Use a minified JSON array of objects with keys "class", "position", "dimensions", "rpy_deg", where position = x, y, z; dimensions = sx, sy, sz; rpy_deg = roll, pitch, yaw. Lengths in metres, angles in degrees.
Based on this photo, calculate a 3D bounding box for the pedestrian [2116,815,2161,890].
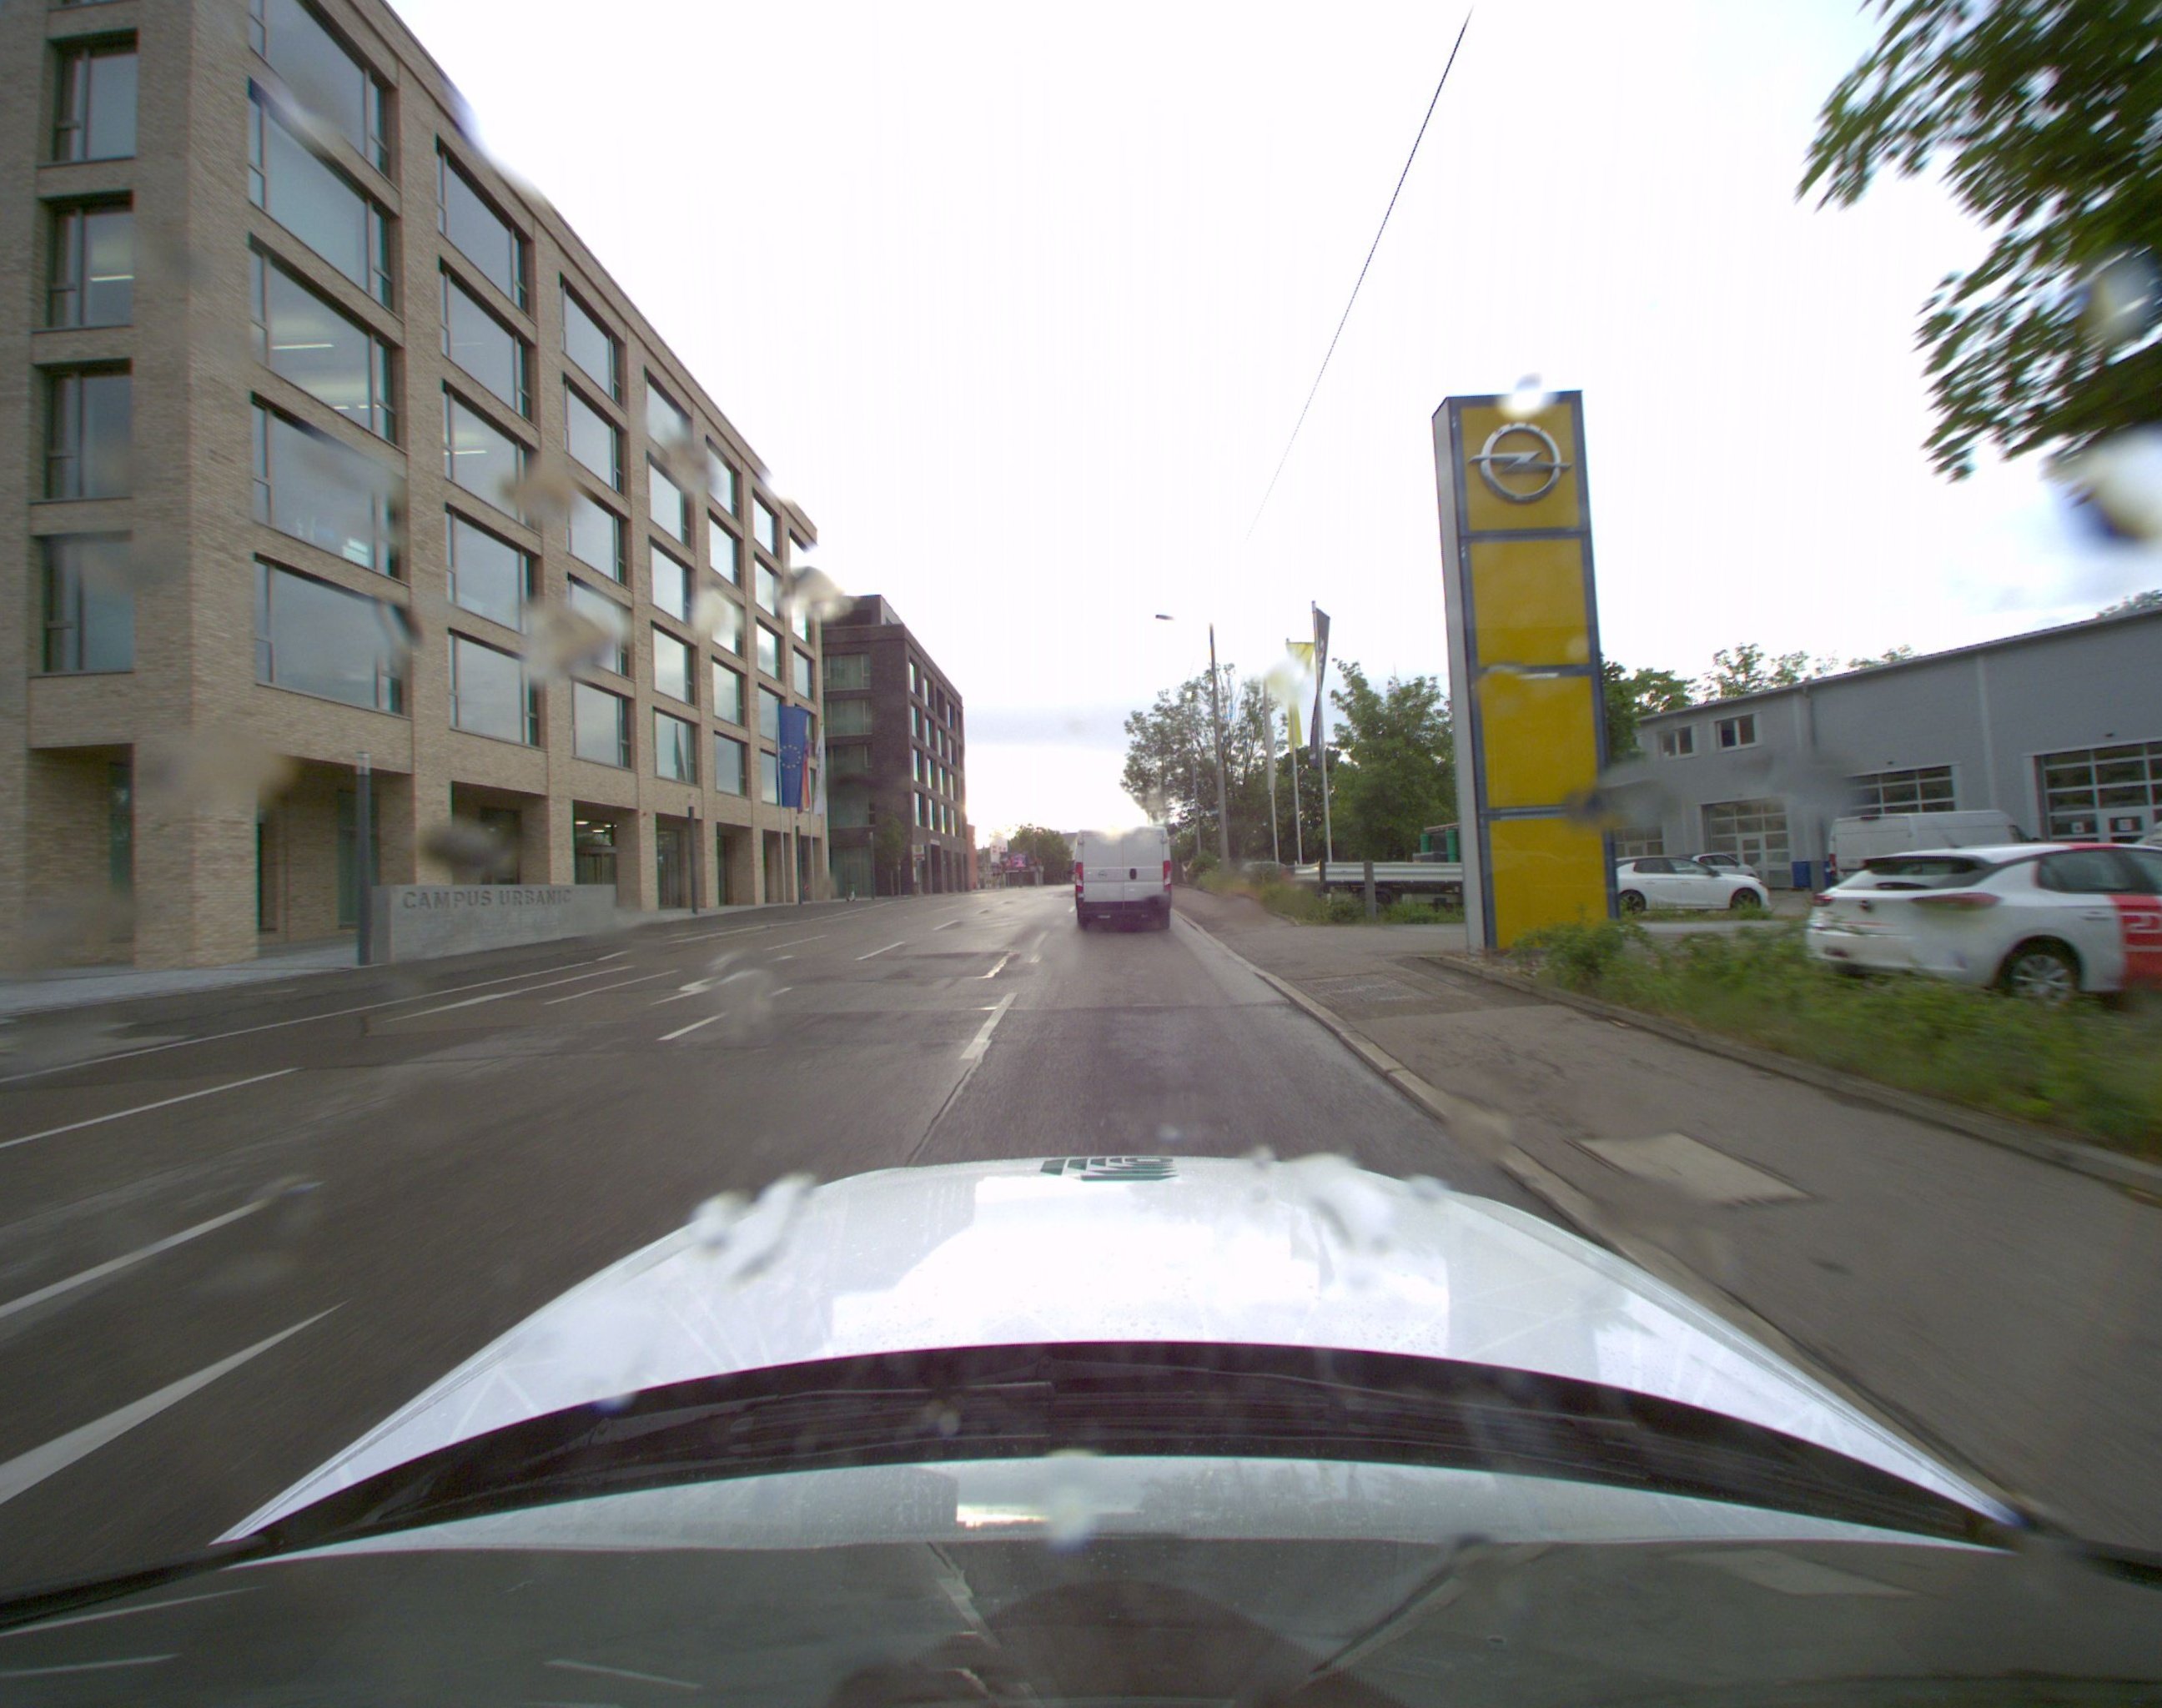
[{"class":"pedestrian","position":[27.286,-0.037,20.694],"dimensions":[0.696,1.881,1.014],"rpy_deg":[-2,0,-22]}]

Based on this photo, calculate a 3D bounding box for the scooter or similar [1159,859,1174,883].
[{"class":"scooter or similar","position":[5.832,1.166,55.487],"dimensions":[0.436,1.564,1.264],"rpy_deg":[-2,0,-20]}]

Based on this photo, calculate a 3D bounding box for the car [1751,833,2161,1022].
[{"class":"car","position":[8.979,0.576,7.516],"dimensions":[3.971,1.428,1.896],"rpy_deg":[-2,0,2]}]

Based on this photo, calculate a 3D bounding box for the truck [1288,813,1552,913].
[{"class":"truck","position":[7.699,0.189,18.913],"dimensions":[5.132,2.013,2.345],"rpy_deg":[-2,0,-1]}]

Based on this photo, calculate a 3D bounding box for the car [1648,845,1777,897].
[{"class":"car","position":[23.824,0.613,30.757],"dimensions":[3.997,1.601,1.830],"rpy_deg":[-4,0,-17]}]

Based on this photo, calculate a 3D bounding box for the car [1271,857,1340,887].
[{"class":"car","position":[15.001,1.210,54.529],"dimensions":[3.979,1.521,1.801],"rpy_deg":[-6,-1,-4]}]

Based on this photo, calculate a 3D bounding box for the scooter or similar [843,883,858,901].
[{"class":"scooter or similar","position":[-13.580,2.223,48.000],"dimensions":[0.349,1.072,1.429],"rpy_deg":[-2,-2,3]}]

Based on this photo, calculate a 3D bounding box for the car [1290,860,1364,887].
[{"class":"car","position":[15.135,1.192,50.257],"dimensions":[3.978,1.522,1.801],"rpy_deg":[-2,-1,-4]}]

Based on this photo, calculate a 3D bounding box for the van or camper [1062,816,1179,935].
[{"class":"van or camper","position":[0.930,0.446,19.249],"dimensions":[2.330,2.357,5.203],"rpy_deg":[-2,0,3]}]

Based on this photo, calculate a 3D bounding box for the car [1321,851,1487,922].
[{"class":"car","position":[8.502,0.838,21.637],"dimensions":[3.681,1.670,1.735],"rpy_deg":[-2,-1,-2]}]

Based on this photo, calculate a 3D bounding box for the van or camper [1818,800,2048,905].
[{"class":"van or camper","position":[24.175,-0.082,23.147],"dimensions":[5.280,2.489,2.275],"rpy_deg":[-4,0,-16]}]

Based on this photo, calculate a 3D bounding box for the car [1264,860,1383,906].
[{"class":"car","position":[9.394,1.101,31.738],"dimensions":[4.113,1.589,1.761],"rpy_deg":[-2,0,2]}]

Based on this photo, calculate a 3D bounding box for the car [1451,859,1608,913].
[{"class":"car","position":[13.116,0.912,23.981],"dimensions":[3.674,1.418,1.632],"rpy_deg":[-2,-1,4]}]

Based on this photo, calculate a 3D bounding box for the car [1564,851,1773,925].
[{"class":"car","position":[13.535,0.760,18.917],"dimensions":[3.676,1.519,1.558],"rpy_deg":[-2,-1,2]}]

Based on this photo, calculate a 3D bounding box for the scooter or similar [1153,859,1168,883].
[{"class":"scooter or similar","position":[5.409,1.167,55.320],"dimensions":[0.436,1.587,1.264],"rpy_deg":[-2,0,-20]}]

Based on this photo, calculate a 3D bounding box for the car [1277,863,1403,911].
[{"class":"car","position":[9.247,1.161,29.291],"dimensions":[3.972,1.508,1.761],"rpy_deg":[-2,0,1]}]
